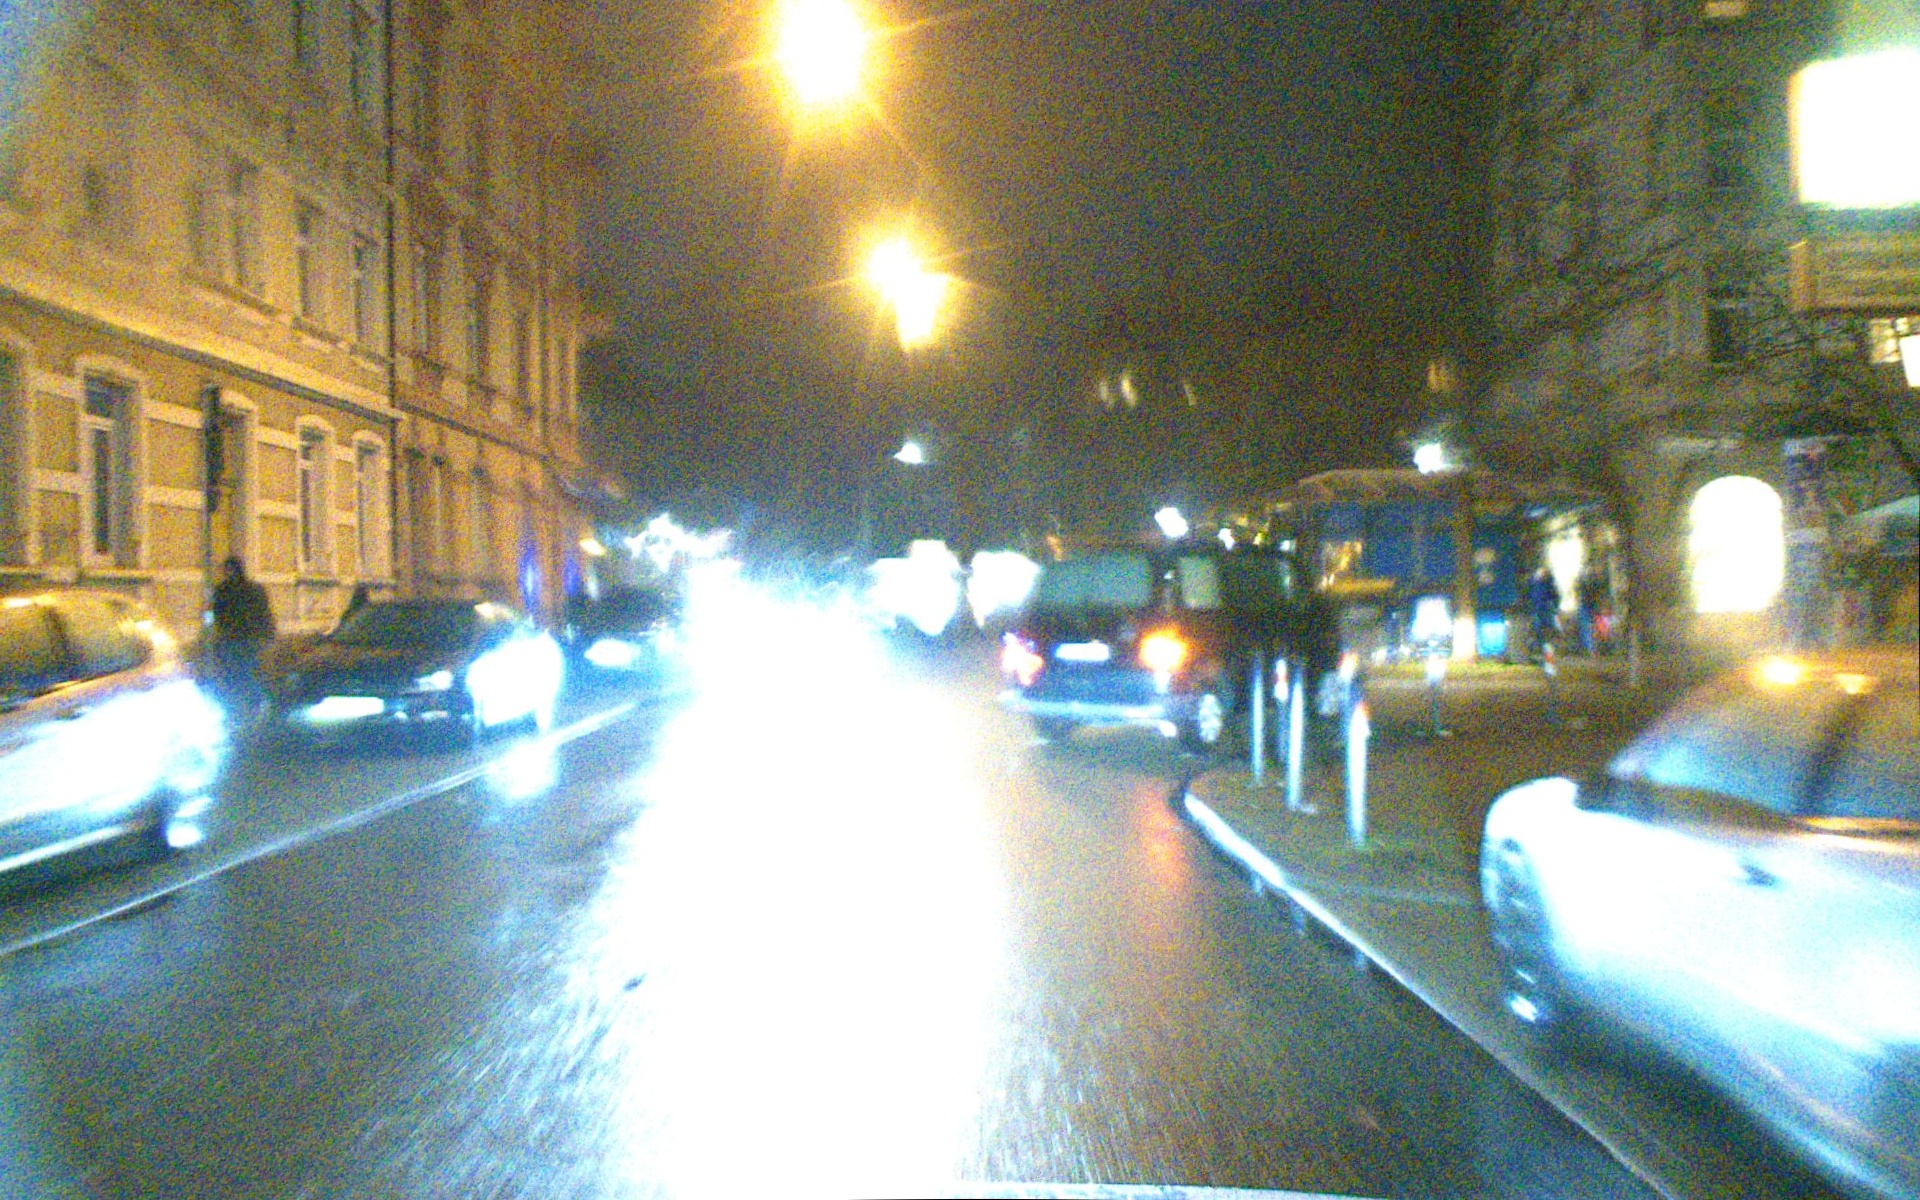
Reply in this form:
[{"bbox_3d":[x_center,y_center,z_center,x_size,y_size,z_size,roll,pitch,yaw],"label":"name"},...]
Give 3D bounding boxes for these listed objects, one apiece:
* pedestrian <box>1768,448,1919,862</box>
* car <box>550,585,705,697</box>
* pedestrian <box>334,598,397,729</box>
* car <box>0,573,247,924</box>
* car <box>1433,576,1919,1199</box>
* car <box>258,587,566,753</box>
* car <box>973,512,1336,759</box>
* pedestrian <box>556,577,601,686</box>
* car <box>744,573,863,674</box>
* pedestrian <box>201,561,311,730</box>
[{"bbox_3d":[4.530,0.215,7.825,0.844,1.819,1.083,-3,1,2],"label":"pedestrian"},{"bbox_3d":[-5.609,0.633,28.427,1.795,1.747,4.593,-1,0,-1],"label":"car"},{"bbox_3d":[-7.370,0.777,20.529,0.645,1.579,0.759,1,-1,-16],"label":"pedestrian"},{"bbox_3d":[-5.294,0.691,8.445,1.710,1.616,3.765,-1,0,-1],"label":"car"},{"bbox_3d":[2.774,0.654,4.198,1.879,1.436,3.999,-1,0,-2],"label":"car"},{"bbox_3d":[-5.611,0.637,17.587,1.795,1.512,4.593,-1,0,-1],"label":"car"},{"bbox_3d":[2.112,0.280,16.496,1.958,2.084,4.686,-1,0,29],"label":"car"},{"bbox_3d":[-7.164,0.582,31.092,0.643,2.008,0.770,1,-1,-2],"label":"pedestrian"},{"bbox_3d":[-2.802,0.383,30.535,1.882,1.646,4.572,-3,1,-2],"label":"car"},{"bbox_3d":[-7.889,0.502,18.574,0.727,1.836,0.987,1,-1,2],"label":"pedestrian"}]
